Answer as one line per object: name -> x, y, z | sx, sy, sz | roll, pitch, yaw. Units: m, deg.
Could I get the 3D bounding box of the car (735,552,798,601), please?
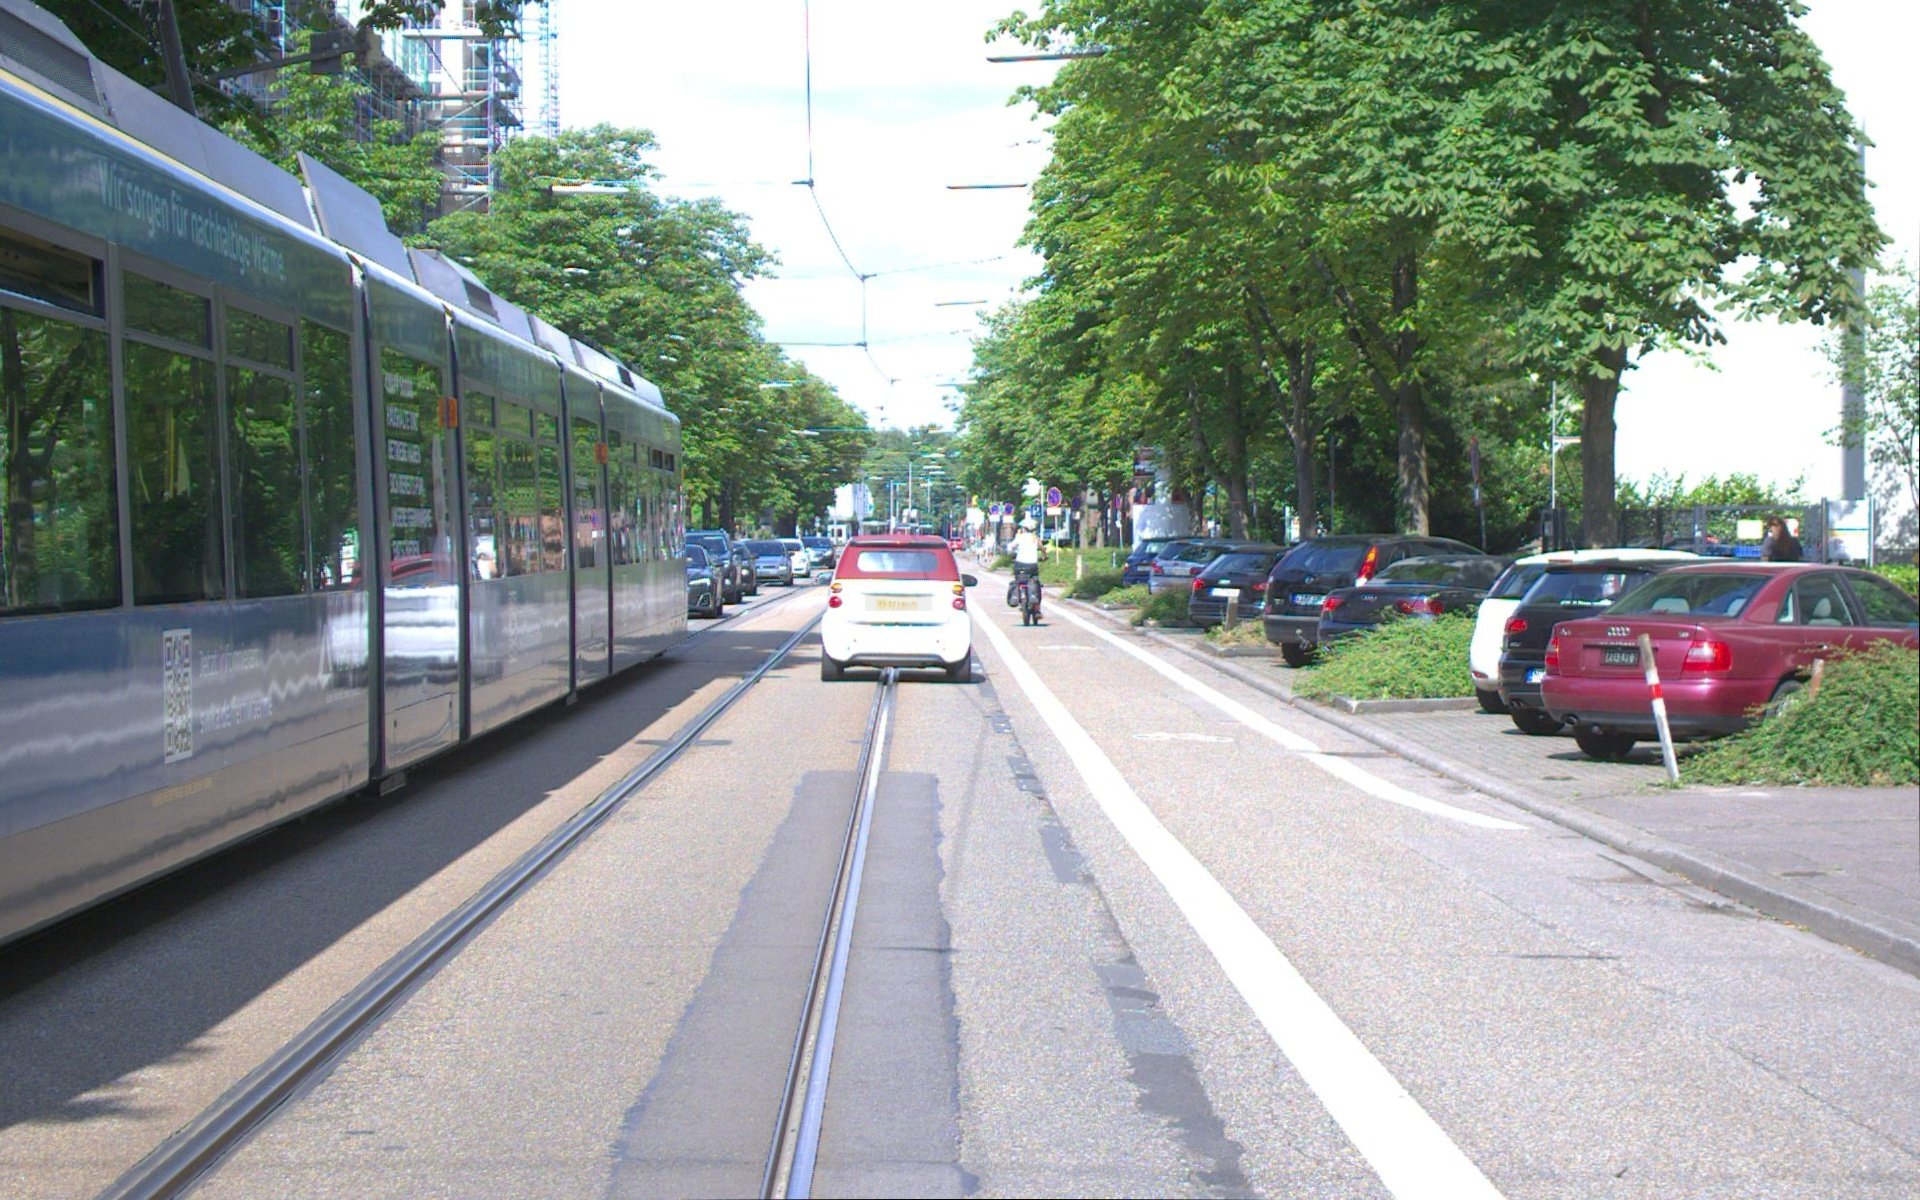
car -> -5.975, -0.738, 106.490 | 1.773, 1.411, 3.852 | -2, 1, -1

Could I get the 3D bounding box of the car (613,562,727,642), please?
car -> -5.286, 0.011, 63.066 | 1.799, 1.383, 4.426 | 0, 1, -1

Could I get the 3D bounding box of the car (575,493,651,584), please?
car -> -10.504, -1.842, 104.433 | 1.769, 2.630, 5.323 | 2, 1, -1

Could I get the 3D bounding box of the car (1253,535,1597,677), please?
car -> 5.588, 0.081, 41.089 | 3.989, 1.569, 1.904 | 1, 1, -42

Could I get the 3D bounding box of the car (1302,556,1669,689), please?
car -> 5.877, 0.249, 38.156 | 1.904, 1.344, 4.164 | 3, 1, 45

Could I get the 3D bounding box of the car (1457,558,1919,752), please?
car -> 5.995, 0.407, 28.051 | 3.989, 1.443, 1.698 | 0, 1, -43

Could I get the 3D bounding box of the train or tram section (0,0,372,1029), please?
train or tram section -> -4.129, -0.450, 10.311 | 2.652, 3.425, 12.316 | -2, 1, -1

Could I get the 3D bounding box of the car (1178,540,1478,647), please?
car -> 5.501, -0.084, 51.033 | 2.030, 1.437, 4.524 | 3, 1, 44

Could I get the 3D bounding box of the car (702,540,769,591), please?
car -> -6.807, -1.060, 104.625 | 1.800, 1.503, 4.536 | 1, 1, -1

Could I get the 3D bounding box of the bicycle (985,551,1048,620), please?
bicycle -> 0.969, -0.254, 58.441 | 0.875, 1.122, 2.135 | 2, 1, 5

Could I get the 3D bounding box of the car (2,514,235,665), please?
car -> -10.096, -0.152, 41.589 | 1.750, 1.659, 4.721 | 2, 1, -2

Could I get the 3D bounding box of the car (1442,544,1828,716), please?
car -> 6.224, 0.242, 31.441 | 1.535, 1.456, 3.990 | 2, 1, 44

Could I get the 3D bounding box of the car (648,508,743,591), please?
car -> -5.834, -1.107, 76.136 | 1.825, 1.721, 4.392 | 2, 1, -2

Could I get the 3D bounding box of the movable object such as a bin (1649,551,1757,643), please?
movable object such as a bin -> 10.991, -0.051, 50.929 | 1.275, 1.314, 1.326 | 1, 1, -1

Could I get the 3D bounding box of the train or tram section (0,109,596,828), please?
train or tram section -> -4.261, -0.686, 22.112 | 2.652, 3.377, 11.474 | -2, 1, -1

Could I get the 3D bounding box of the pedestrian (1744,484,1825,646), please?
pedestrian -> 9.654, -0.418, 40.299 | 0.761, 1.867, 1.002 | 1, 1, 5

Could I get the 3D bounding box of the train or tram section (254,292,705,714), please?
train or tram section -> -4.408, -0.873, 34.868 | 2.652, 3.344, 14.109 | -2, 1, -1

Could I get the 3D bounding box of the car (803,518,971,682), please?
car -> -0.766, -0.018, 37.039 | 1.665, 1.619, 3.621 | 2, 1, -1

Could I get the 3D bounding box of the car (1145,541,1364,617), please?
car -> 5.811, -0.416, 67.589 | 4.230, 1.415, 1.723 | 0, 2, -38

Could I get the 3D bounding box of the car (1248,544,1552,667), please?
car -> 5.726, 0.038, 44.463 | 4.065, 1.438, 1.725 | -1, 4, -45

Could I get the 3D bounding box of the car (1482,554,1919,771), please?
car -> 5.818, 0.386, 24.875 | 4.149, 1.418, 1.866 | -1, 1, -43

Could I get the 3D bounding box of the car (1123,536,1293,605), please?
car -> 5.607, -0.676, 77.412 | 1.615, 1.481, 3.990 | 0, 1, 44

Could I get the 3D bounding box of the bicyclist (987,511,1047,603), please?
bicyclist -> 0.982, -0.730, 58.578 | 0.890, 1.523, 1.085 | 2, 1, 5

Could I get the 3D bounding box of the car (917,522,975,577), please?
car -> -0.425, -1.525, 102.828 | 1.665, 1.619, 3.621 | 1, 1, -1
